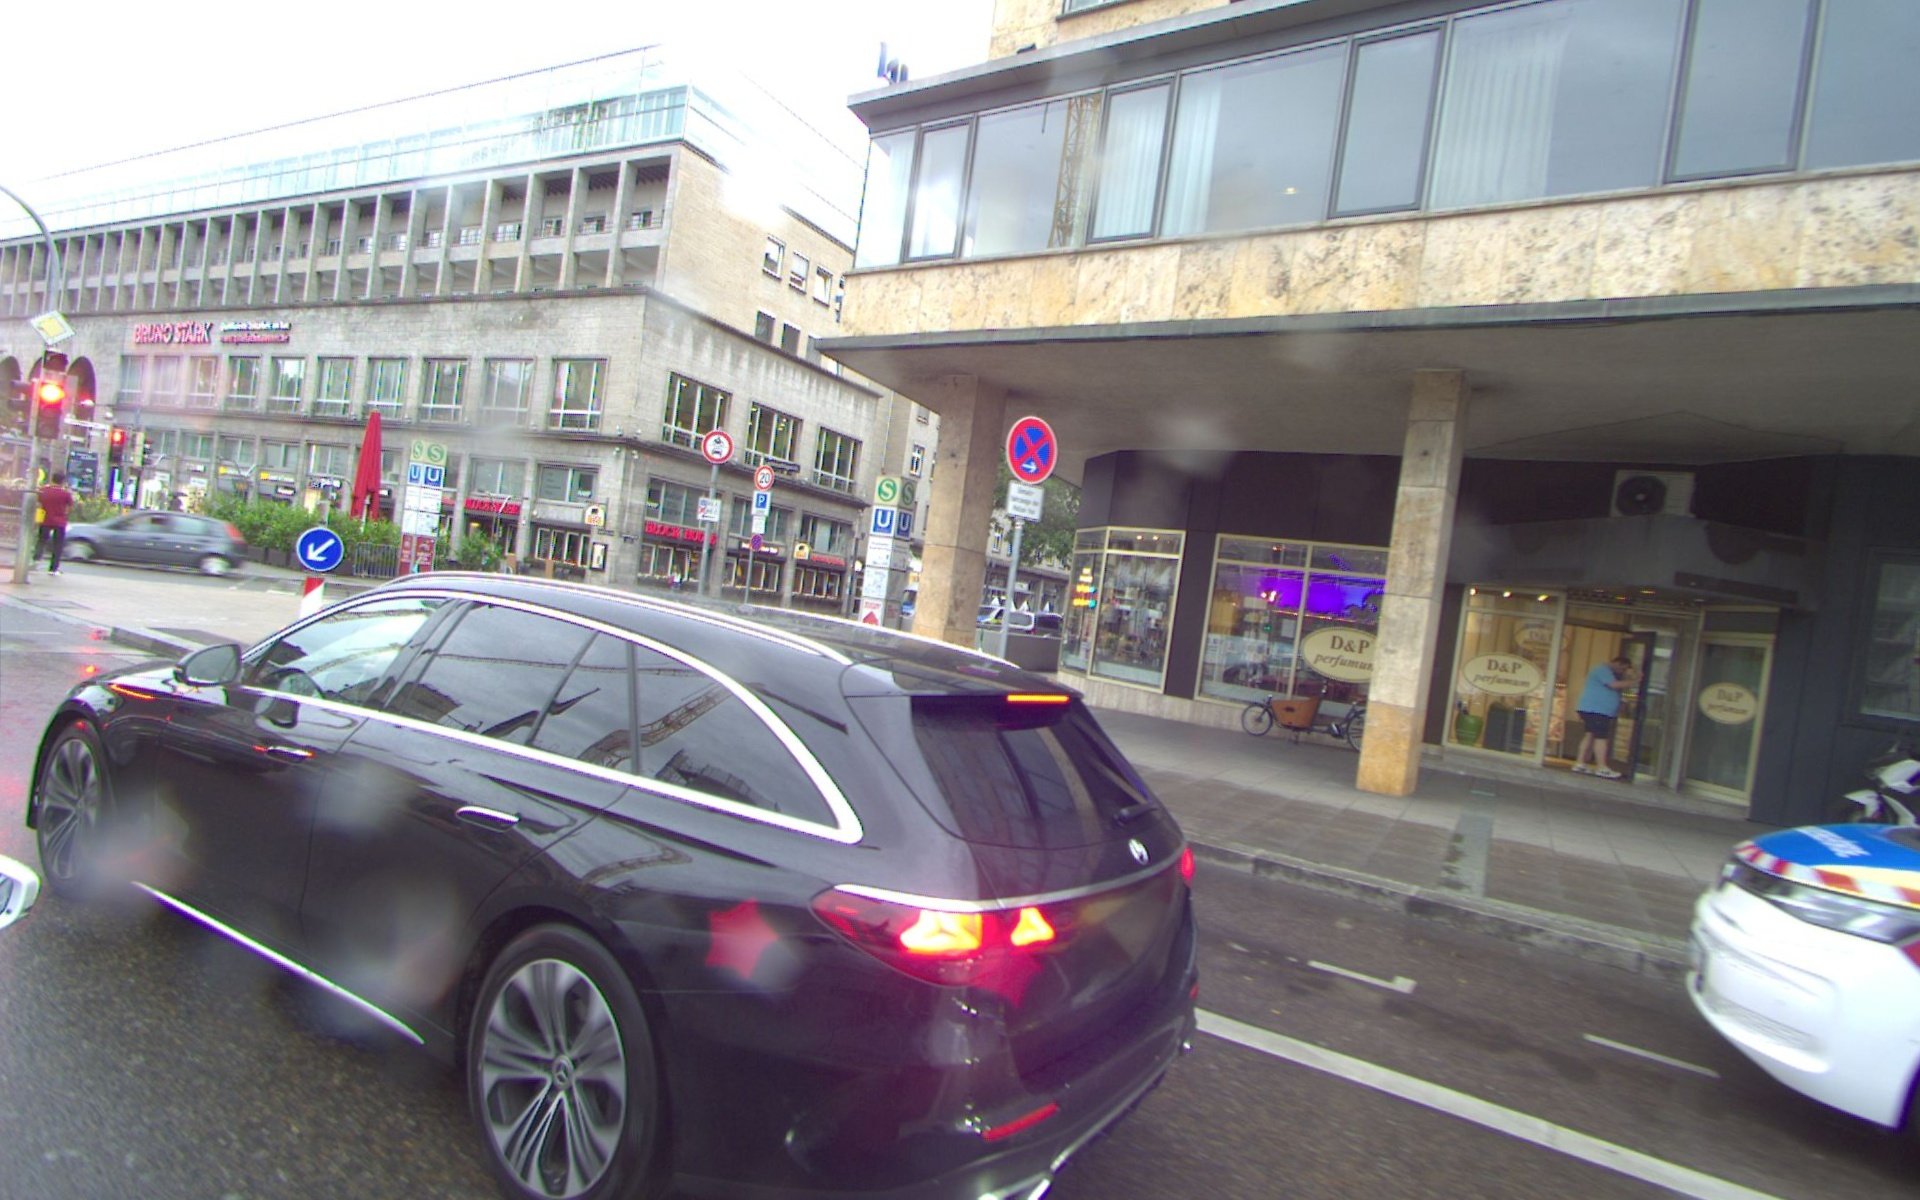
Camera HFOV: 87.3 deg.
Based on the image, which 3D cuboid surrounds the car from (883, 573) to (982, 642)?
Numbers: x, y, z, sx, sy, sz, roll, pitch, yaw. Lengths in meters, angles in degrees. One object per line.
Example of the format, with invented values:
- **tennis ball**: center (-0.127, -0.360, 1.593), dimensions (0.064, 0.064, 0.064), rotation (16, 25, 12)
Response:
- **car**: center (-1.302, 0.464, 51.726), dimensions (1.966, 2.793, 6.184), rotation (7, -2, 29)

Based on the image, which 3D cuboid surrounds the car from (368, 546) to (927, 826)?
- **car**: center (-2.715, 0.587, 8.439), dimensions (4.451, 1.503, 1.878), rotation (7, -2, 31)

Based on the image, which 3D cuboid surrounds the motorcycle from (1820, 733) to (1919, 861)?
- **motorcycle**: center (10.663, 2.216, 10.782), dimensions (2.074, 1.232, 0.567), rotation (6, -1, 40)

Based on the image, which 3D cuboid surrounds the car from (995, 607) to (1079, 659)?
- **car**: center (3.658, 1.597, 47.078), dimensions (1.966, 1.995, 4.638), rotation (7, -1, 29)

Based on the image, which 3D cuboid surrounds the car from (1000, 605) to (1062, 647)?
- **car**: center (4.528, 1.680, 63.482), dimensions (1.966, 2.065, 4.483), rotation (7, -2, 29)

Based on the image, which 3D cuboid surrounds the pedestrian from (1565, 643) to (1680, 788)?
- **pedestrian**: center (9.242, 1.597, 14.037), dimensions (1.119, 1.811, 0.798), rotation (7, -1, 39)

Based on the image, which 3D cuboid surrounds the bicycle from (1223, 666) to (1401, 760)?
- **bicycle**: center (5.439, 1.732, 15.647), dimensions (2.431, 1.058, 0.657), rotation (7, -1, 32)

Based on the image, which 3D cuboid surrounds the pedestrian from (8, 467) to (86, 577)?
- **pedestrian**: center (-15.694, -1.321, 17.307), dimensions (0.561, 1.772, 0.678), rotation (8, -1, -15)

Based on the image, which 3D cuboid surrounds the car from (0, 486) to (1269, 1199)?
- **car**: center (-1.467, 0.598, 3.695), dimensions (4.551, 1.519, 1.797), rotation (7, -2, 31)

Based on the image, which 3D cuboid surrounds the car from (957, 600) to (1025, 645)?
- **car**: center (1.857, 1.364, 58.664), dimensions (1.966, 2.065, 4.557), rotation (7, -2, 29)

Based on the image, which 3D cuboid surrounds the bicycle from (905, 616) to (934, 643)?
- **bicycle**: center (-1.689, 1.256, 42.476), dimensions (0.581, 1.021, 2.217), rotation (7, -2, 12)

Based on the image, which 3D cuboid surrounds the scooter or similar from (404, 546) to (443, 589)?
- **scooter or similar**: center (-16.832, -1.012, 31.566), dimensions (1.000, 1.203, 0.291), rotation (7, -1, 13)

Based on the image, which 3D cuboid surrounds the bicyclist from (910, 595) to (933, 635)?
- **bicyclist**: center (-1.633, 0.641, 42.396), dimensions (0.601, 1.558, 0.719), rotation (7, -1, 14)

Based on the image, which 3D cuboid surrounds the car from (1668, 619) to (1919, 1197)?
- **car**: center (5.484, 1.365, 3.300), dimensions (4.853, 1.942, 1.878), rotation (7, -2, 31)

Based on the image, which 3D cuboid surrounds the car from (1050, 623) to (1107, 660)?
- **car**: center (8.357, 2.965, 70.593), dimensions (1.966, 2.065, 4.831), rotation (7, -2, 31)

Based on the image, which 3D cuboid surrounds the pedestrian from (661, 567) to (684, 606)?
- **pedestrian**: center (-12.101, -0.580, 42.310), dimensions (0.748, 1.530, 0.714), rotation (8, -1, -16)

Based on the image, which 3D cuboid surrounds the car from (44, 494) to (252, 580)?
- **car**: center (-19.345, -1.465, 24.089), dimensions (3.642, 1.414, 1.831), rotation (9, -2, -41)

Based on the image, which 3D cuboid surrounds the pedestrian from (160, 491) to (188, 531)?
- **pedestrian**: center (-43.382, -4.925, 55.526), dimensions (0.811, 2.037, 0.764), rotation (7, -1, 32)
